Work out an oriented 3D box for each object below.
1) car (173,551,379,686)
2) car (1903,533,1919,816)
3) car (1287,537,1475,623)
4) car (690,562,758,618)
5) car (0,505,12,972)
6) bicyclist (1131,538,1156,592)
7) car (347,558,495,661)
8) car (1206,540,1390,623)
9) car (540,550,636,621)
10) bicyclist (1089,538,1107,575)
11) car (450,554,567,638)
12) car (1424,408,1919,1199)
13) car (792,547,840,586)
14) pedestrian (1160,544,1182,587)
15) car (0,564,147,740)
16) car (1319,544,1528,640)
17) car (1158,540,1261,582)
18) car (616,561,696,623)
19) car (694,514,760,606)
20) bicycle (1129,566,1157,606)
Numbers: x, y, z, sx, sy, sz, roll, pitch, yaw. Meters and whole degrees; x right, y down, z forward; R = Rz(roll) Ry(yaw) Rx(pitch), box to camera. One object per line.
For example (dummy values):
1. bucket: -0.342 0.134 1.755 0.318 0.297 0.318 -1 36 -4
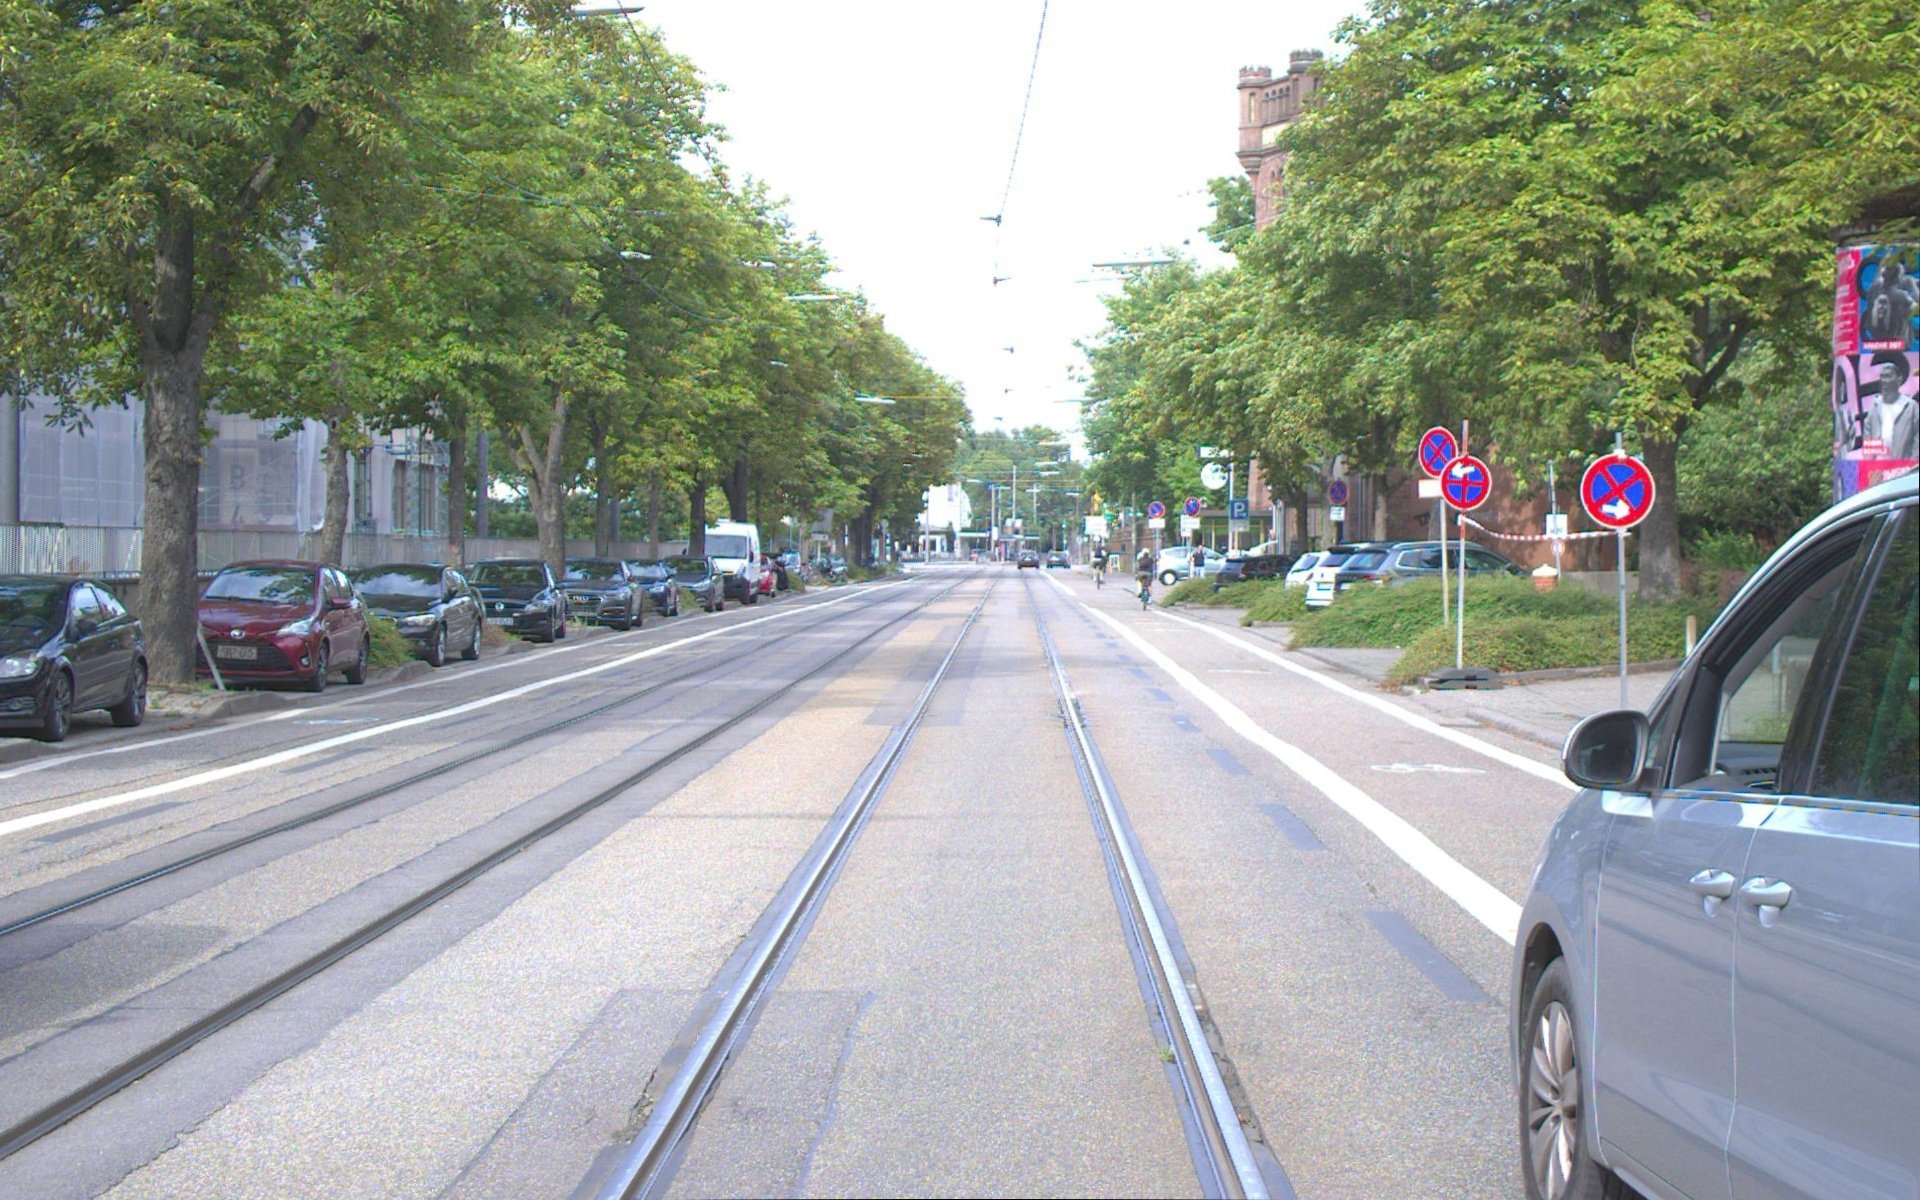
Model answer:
1. car: -8.050 0.182 40.750 1.635 1.491 3.963 1 1 0
2. car: 7.242 0.428 20.184 3.637 1.597 1.681 0 1 -45
3. car: 8.101 -0.385 66.015 3.637 1.597 1.681 0 1 -45
4. car: -6.223 -0.275 90.955 1.590 1.398 3.963 1 1 -1
5. car: -4.213 0.530 9.897 1.732 1.623 4.378 -1 1 0
6. bicyclist: 4.921 -0.944 92.334 0.592 1.454 0.875 1 1 -1
7. car: -7.776 0.108 49.883 1.590 1.398 3.963 1 1 -1
8. car: 6.718 -0.365 68.181 3.637 1.597 1.681 0 1 -45
9. car: -7.589 -0.318 70.409 1.590 1.398 3.963 1 1 -1
10. bicyclist: 5.550 -1.742 138.339 0.659 1.491 0.929 1 1 1
11. car: -7.882 -0.093 60.262 1.590 1.398 3.963 1 1 -1
12. car: 2.172 0.570 5.810 1.812 1.695 4.618 1 1 -4
13. car: -5.420 -1.270 129.730 1.590 1.398 3.550 1 1 1
14. pedestrian: 8.737 -1.438 142.305 0.748 1.783 0.730 1 0 16
15. car: -8.347 0.404 30.096 1.590 1.398 3.963 1 1 -1
16. car: 8.008 -0.147 59.238 3.637 1.597 1.681 0 1 -45
17. car: 10.302 -1.629 142.352 3.986 1.687 2.000 1 1 -4
18. car: -7.111 -0.205 80.772 1.590 1.398 3.963 1 1 -1
19. car: -7.043 -1.221 104.314 1.720 2.695 5.470 1 1 -1
20. bicycle: 4.911 -0.390 92.341 0.592 1.040 1.978 1 1 -1
